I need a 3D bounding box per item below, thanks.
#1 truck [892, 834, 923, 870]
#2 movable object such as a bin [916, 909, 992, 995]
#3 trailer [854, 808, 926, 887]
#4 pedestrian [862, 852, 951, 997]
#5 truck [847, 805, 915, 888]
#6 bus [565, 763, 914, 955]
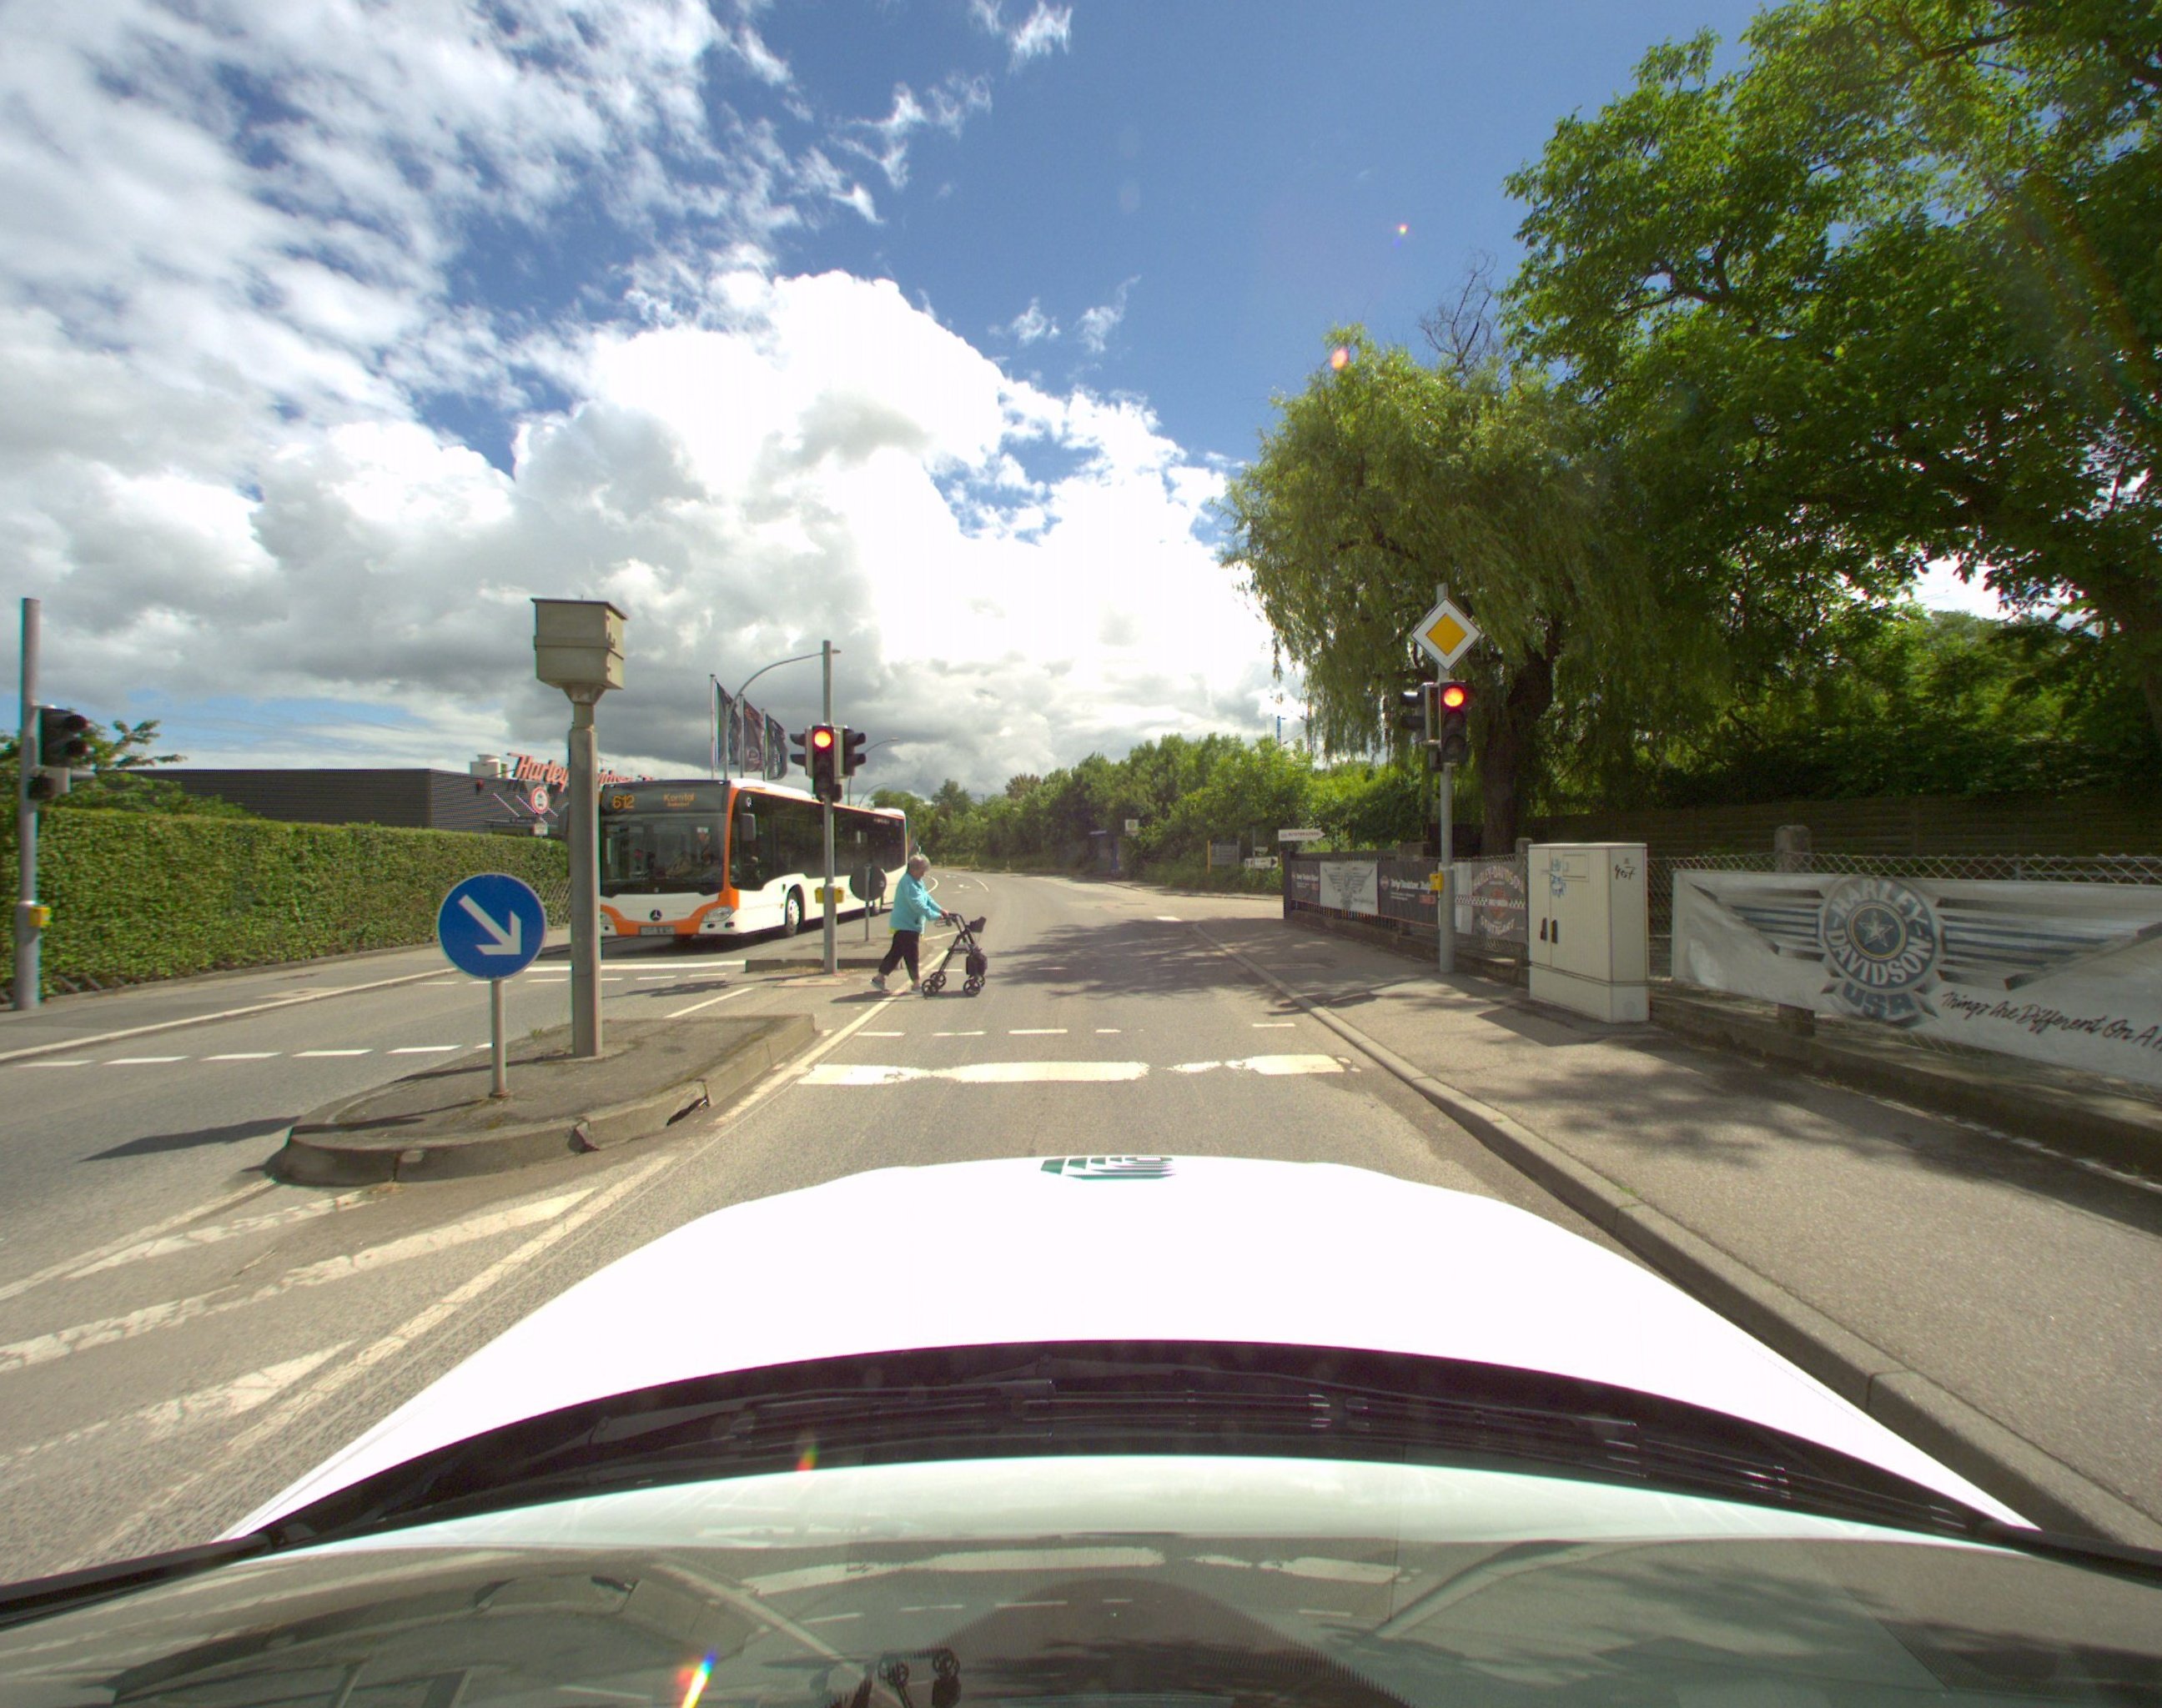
[{"bbox_3d":[-20.732,-0.219,97.264,2.782,4.119,4.950,0,-1,-22],"label":"truck"},{"bbox_3d":[-1.395,1.074,9.071,0.744,0.871,0.670,0,-1,-2],"label":"movable object such as a bin"},{"bbox_3d":[-11.359,-0.286,49.830,2.797,4.053,15.512,0,0,-8],"label":"trailer"},{"bbox_3d":[-1.917,0.753,9.048,0.836,1.543,0.733,0,-1,-2],"label":"pedestrian"},{"bbox_3d":[-10.371,-0.348,42.883,2.797,4.053,6.483,0,-1,-8],"label":"truck"},{"bbox_3d":[-6.807,0.128,19.347,2.708,3.031,12.270,-2,-1,2],"label":"bus"}]
